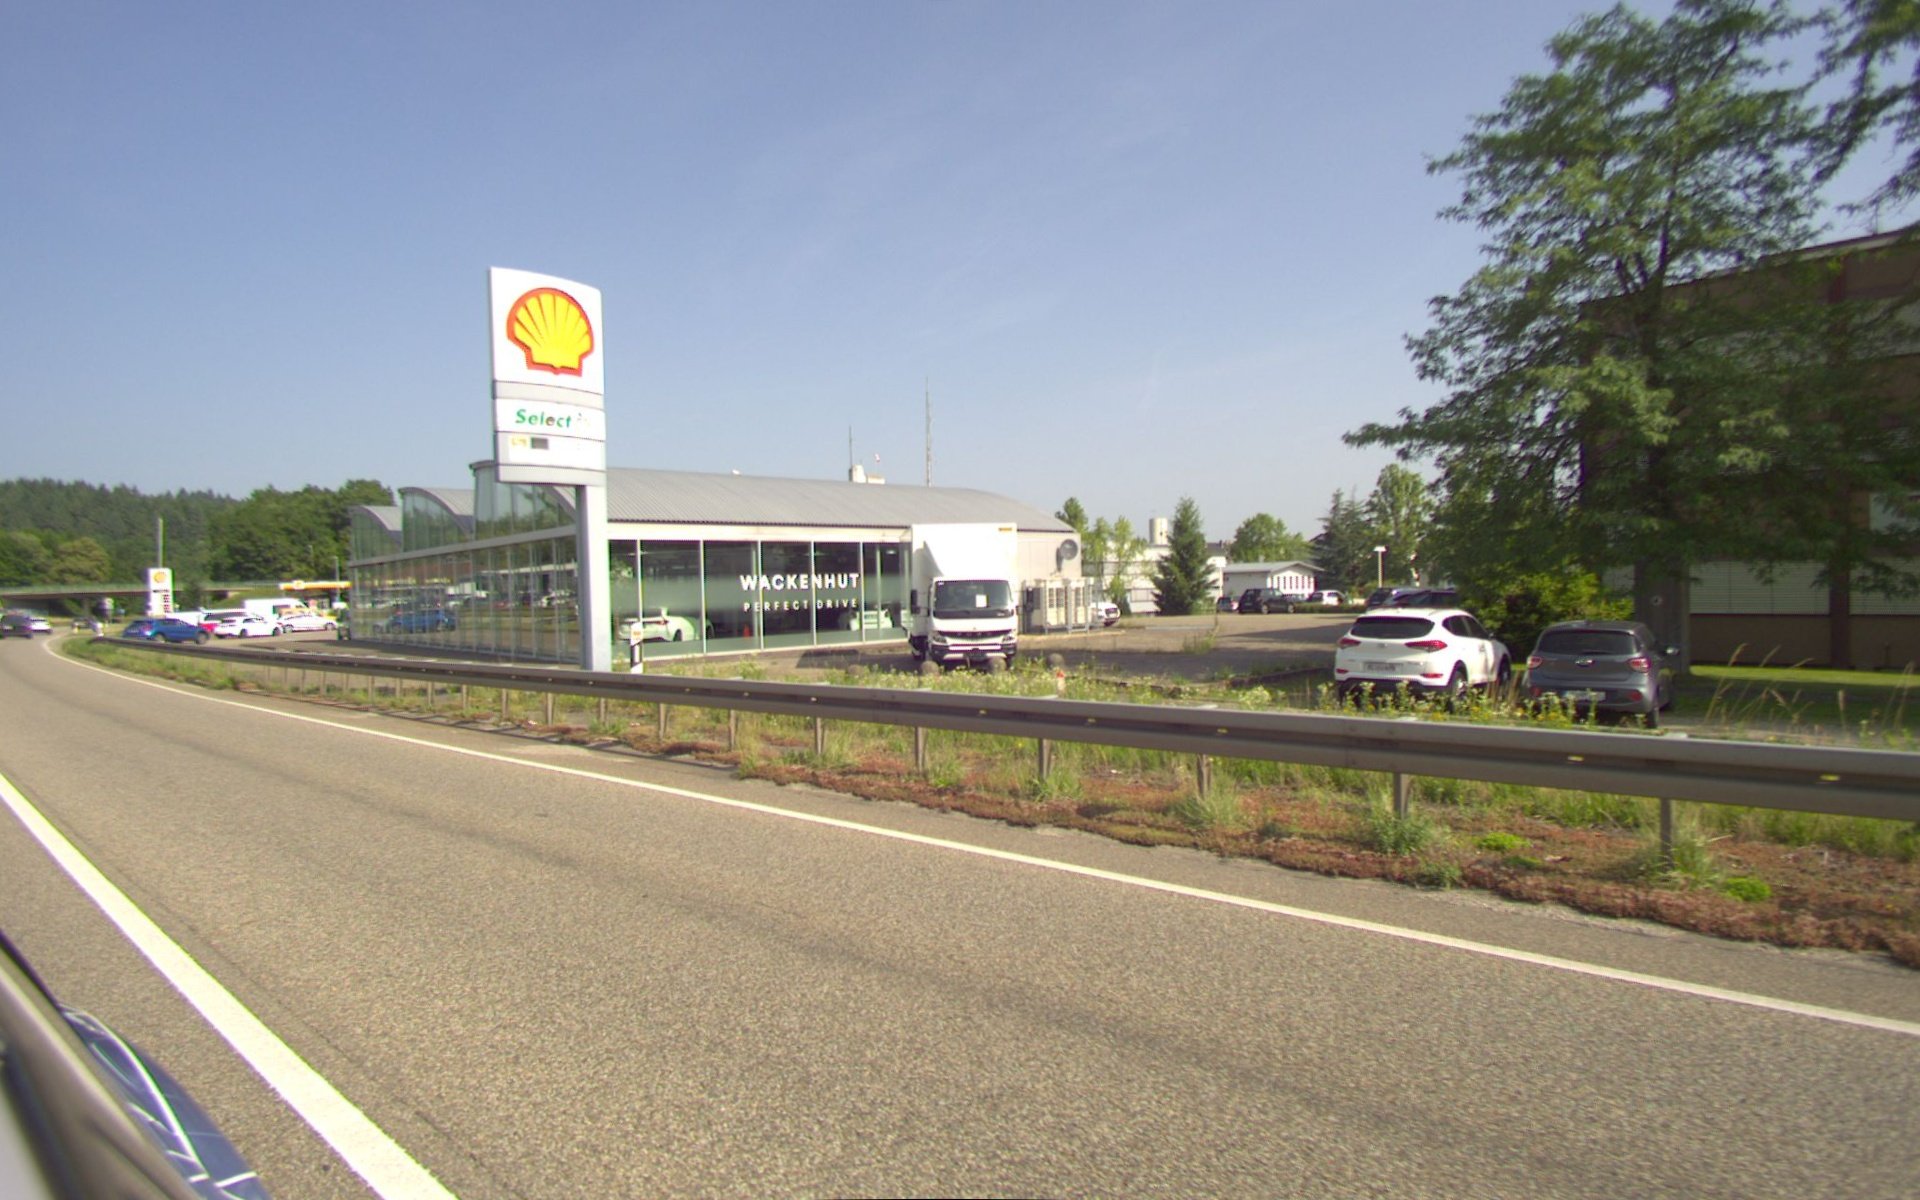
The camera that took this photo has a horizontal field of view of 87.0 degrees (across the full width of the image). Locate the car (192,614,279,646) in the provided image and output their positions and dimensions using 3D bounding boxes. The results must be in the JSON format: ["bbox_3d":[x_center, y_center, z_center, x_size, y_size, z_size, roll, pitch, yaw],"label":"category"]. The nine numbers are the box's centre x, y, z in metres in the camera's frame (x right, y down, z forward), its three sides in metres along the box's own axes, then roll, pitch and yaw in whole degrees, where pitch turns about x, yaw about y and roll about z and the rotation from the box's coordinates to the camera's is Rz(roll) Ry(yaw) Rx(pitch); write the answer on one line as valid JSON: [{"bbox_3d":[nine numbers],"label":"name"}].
[{"bbox_3d":[-51.906,2.133,72.564,4.736,1.996,2.231,-4,1,-43],"label":"car"}]

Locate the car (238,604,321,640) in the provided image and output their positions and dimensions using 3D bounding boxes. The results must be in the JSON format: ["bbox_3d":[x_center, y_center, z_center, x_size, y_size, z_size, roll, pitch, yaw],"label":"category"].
[{"bbox_3d":[-58.966,1.867,87.766,5.651,2.765,2.289,-3,1,-41],"label":"car"}]

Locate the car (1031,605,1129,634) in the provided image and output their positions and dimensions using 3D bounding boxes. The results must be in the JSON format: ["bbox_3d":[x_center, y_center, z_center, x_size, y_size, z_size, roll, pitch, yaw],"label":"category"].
[{"bbox_3d":[5.179,0.846,43.998,3.998,1.209,1.704,-1,0,41],"label":"car"}]

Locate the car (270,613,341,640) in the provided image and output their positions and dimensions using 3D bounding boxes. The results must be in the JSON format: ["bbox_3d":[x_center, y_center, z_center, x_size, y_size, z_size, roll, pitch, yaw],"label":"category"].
[{"bbox_3d":[-51.615,2.049,79.870,4.329,1.821,2.003,-4,1,-43],"label":"car"}]

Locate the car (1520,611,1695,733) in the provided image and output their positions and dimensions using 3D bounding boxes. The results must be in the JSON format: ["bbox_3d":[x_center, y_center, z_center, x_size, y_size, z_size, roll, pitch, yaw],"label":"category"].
[{"bbox_3d":[10.045,0.988,15.587,1.929,1.511,3.712,-1,1,38],"label":"car"}]

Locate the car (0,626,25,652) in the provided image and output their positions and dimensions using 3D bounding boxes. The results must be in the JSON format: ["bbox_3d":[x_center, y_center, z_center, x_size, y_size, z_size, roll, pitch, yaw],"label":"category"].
[{"bbox_3d":[-73.643,2.996,78.211,1.891,1.900,4.916,1,-2,-42],"label":"car"}]

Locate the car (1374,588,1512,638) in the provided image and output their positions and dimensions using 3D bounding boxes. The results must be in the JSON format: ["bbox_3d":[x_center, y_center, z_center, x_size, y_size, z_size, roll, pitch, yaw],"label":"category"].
[{"bbox_3d":[16.668,0.416,35.059,4.001,1.616,1.705,1,1,44],"label":"car"}]

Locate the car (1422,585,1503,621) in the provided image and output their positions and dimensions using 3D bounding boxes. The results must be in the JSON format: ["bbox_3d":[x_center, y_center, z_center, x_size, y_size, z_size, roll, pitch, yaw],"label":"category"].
[{"bbox_3d":[23.914,0.113,48.144,3.933,1.616,1.735,0,1,-33],"label":"car"}]

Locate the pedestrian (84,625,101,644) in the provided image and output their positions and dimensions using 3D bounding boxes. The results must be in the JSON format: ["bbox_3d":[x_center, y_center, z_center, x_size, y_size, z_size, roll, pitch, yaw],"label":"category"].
[{"bbox_3d":[-80.706,3.189,94.169,0.835,1.702,1.148,0,0,-23],"label":"pedestrian"}]

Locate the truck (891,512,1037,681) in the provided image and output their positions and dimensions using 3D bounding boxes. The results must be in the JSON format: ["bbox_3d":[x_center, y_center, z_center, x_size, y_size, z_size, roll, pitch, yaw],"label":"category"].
[{"bbox_3d":[-0.179,-0.090,26.079,2.763,3.583,8.224,-2,0,-6],"label":"truck"}]

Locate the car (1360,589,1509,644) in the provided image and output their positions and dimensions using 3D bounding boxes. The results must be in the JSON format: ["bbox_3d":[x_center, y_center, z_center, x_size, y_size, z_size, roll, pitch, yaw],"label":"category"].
[{"bbox_3d":[15.183,0.479,32.513,1.704,1.616,4.004,0,1,-43],"label":"car"}]

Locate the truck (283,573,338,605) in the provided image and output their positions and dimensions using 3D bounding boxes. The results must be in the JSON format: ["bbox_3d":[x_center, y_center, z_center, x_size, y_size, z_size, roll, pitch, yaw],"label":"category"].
[{"bbox_3d":[-93.100,-1.455,145.436,3.010,4.165,16.826,0,0,-20],"label":"truck"}]

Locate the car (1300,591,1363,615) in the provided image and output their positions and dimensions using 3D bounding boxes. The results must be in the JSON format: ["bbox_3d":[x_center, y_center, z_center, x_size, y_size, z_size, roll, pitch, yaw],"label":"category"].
[{"bbox_3d":[25.482,0.212,69.492,3.930,1.616,1.736,0,1,-23],"label":"car"}]

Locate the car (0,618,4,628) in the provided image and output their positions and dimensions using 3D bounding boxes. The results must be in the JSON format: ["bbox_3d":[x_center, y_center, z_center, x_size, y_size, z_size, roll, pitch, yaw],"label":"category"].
[{"bbox_3d":[-139.485,3.251,144.208,4.500,1.475,1.882,1,-1,-35],"label":"car"}]

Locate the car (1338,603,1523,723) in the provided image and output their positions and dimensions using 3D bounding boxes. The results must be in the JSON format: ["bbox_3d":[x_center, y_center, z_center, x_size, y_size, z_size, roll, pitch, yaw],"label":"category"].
[{"bbox_3d":[8.130,0.948,17.265,1.929,1.667,4.309,-1,1,38],"label":"car"}]

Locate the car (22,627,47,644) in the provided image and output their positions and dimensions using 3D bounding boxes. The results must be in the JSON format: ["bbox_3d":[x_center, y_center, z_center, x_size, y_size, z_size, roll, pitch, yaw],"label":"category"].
[{"bbox_3d":[-88.700,3.379,97.020,1.770,1.642,4.232,1,-2,-42],"label":"car"}]

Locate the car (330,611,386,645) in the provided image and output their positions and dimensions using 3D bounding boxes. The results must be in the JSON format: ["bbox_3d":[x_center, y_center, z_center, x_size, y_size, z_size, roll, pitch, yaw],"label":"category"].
[{"bbox_3d":[-32.775,1.530,55.025,1.783,1.726,4.413,-1,-1,-42],"label":"car"}]

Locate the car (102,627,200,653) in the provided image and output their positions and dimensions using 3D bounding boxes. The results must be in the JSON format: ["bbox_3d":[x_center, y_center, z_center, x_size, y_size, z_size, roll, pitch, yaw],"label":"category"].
[{"bbox_3d":[-46.741,2.278,58.595,1.831,1.378,4.385,-1,-1,7],"label":"car"}]

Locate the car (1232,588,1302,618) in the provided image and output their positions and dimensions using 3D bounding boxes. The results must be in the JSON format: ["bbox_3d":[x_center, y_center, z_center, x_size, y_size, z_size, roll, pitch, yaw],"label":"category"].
[{"bbox_3d":[17.595,0.153,57.906,3.933,1.616,1.735,0,1,-33],"label":"car"}]

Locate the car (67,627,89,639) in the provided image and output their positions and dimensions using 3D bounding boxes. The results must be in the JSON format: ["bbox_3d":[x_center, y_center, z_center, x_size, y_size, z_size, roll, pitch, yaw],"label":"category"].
[{"bbox_3d":[-111.072,4.163,127.517,1.728,1.486,4.296,1,-2,-36],"label":"car"}]

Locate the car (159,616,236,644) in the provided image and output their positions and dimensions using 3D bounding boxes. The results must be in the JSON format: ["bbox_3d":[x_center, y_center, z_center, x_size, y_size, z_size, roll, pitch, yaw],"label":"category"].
[{"bbox_3d":[-60.071,2.332,79.764,4.616,1.871,2.146,-3,1,-43],"label":"car"}]

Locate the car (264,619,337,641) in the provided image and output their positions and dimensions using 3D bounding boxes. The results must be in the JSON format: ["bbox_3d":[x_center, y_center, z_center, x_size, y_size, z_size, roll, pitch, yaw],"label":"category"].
[{"bbox_3d":[-50.416,2.247,77.433,4.412,1.409,1.968,-3,1,-43],"label":"car"}]

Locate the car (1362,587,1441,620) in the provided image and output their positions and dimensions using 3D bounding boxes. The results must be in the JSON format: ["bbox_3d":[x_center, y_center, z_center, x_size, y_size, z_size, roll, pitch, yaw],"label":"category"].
[{"bbox_3d":[22.161,0.152,50.752,3.933,1.616,1.735,0,1,-33],"label":"car"}]

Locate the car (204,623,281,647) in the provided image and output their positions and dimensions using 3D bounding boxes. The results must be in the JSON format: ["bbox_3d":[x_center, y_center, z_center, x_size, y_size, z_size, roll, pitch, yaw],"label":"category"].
[{"bbox_3d":[-48.434,2.334,68.383,1.875,1.413,4.222,-1,1,7],"label":"car"}]

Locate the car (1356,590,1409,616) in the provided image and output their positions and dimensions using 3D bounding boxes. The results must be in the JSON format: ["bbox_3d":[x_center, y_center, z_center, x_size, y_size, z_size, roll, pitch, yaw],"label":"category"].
[{"bbox_3d":[27.384,0.173,65.561,3.939,1.616,1.732,0,1,-43],"label":"car"}]

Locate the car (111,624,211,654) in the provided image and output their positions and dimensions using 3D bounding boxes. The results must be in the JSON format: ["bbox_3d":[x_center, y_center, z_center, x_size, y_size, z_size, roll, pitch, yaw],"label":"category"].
[{"bbox_3d":[-44.047,2.106,55.923,1.961,1.518,4.223,-1,-1,7],"label":"car"}]
